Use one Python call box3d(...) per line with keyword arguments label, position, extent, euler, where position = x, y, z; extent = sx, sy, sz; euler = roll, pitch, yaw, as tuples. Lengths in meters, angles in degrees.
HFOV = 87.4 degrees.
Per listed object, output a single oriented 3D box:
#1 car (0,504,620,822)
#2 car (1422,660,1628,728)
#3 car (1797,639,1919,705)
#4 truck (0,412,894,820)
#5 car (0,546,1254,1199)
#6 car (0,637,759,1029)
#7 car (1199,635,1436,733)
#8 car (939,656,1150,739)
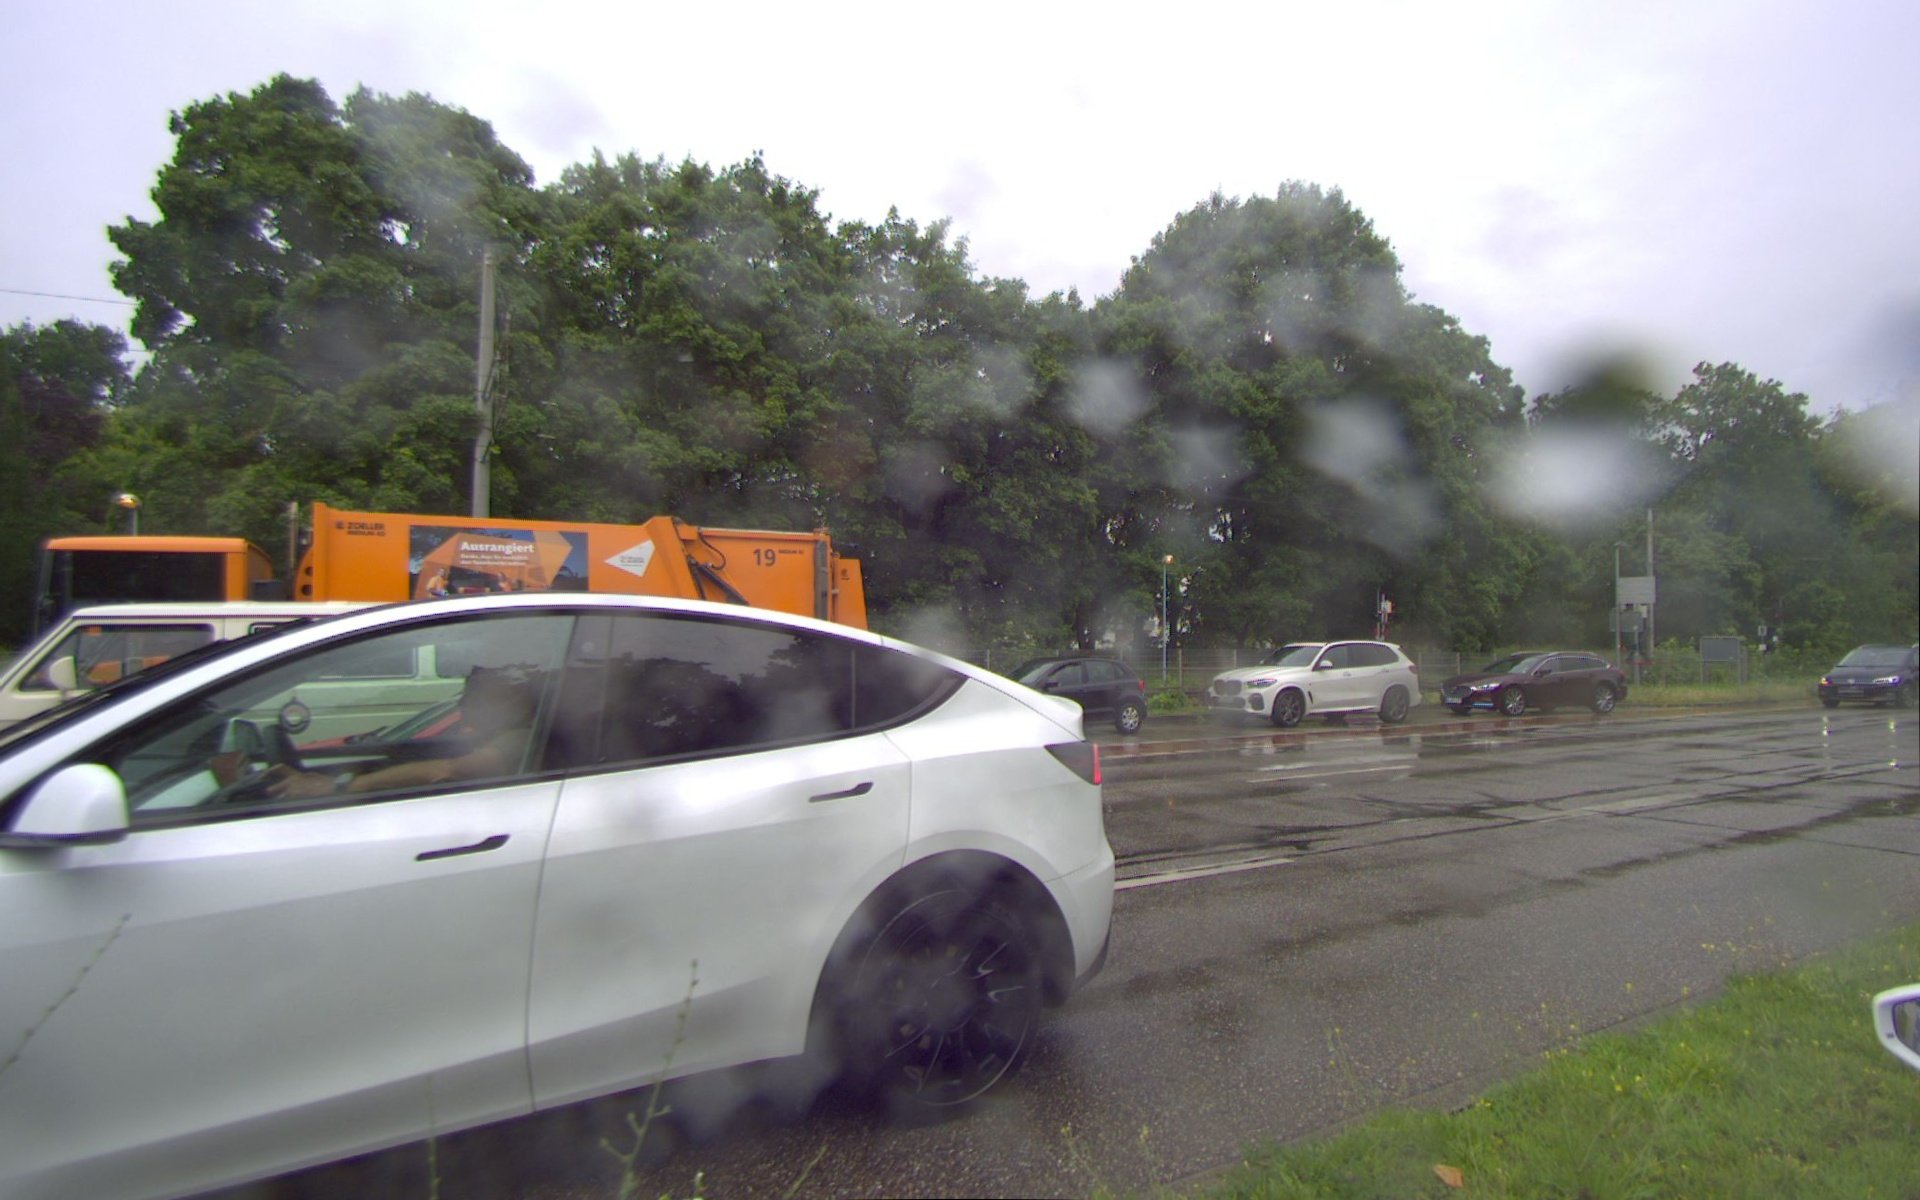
box3d(label="car", position=(-5.333, 0.489, 8.041), extent=(4.686, 2.044, 1.921), euler=(1, -4, -30))
box3d(label="car", position=(13.731, 2.237, 24.467), extent=(4.435, 1.505, 1.871), euler=(1, -3, -18))
box3d(label="car", position=(24.647, 1.902, 27.022), extent=(4.275, 1.663, 1.701), euler=(1, -4, -27))
box3d(label="truck", position=(-6.347, 0.333, 14.439), extent=(10.283, 4.222, 3.369), euler=(2, -1, -30))
box3d(label="car", position=(-1.423, 0.770, 3.308), extent=(4.642, 1.638, 1.952), euler=(1, -3, -30))
box3d(label="car", position=(-3.488, 1.040, 5.426), extent=(4.378, 1.589, 1.793), euler=(3, -4, -31))
box3d(label="car", position=(7.644, 1.740, 21.471), extent=(4.706, 1.852, 1.988), euler=(2, -1, -25))
box3d(label="car", position=(1.576, 1.747, 18.552), extent=(3.643, 1.396, 1.581), euler=(2, -5, -30))
